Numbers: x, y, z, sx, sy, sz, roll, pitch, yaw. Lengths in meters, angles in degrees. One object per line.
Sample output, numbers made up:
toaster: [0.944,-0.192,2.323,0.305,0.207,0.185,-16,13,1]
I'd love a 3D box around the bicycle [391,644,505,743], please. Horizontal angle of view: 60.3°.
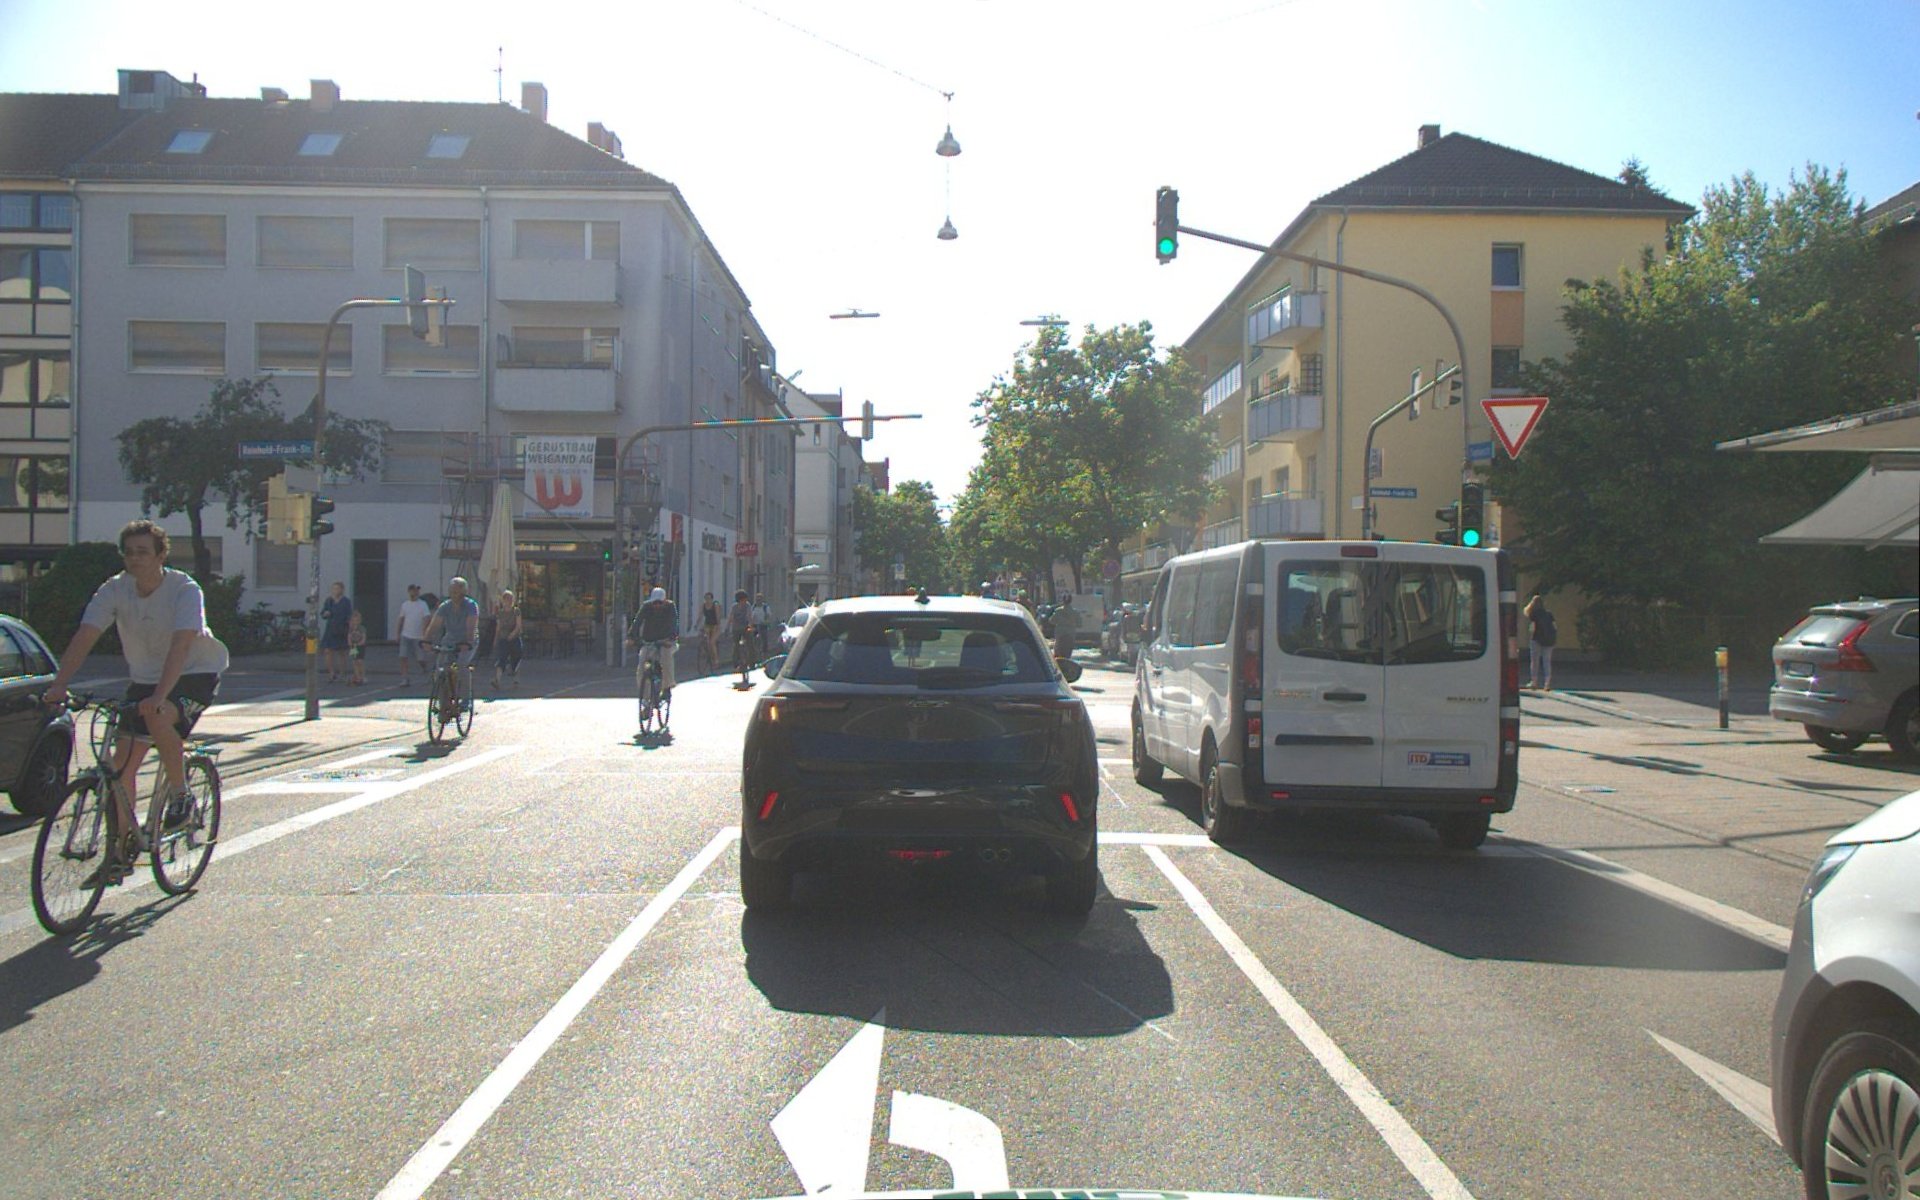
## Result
bicycle: [-5.655,1.010,18.371,0.666,0.969,1.933,-1,0,-1]

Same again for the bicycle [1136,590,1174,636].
bicycle: [3.831,0.249,32.631,0.535,0.881,1.876,0,0,0]

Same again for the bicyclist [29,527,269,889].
bicyclist: [-3.906,0.496,8.037,0.702,1.648,0.946,0,-1,-1]

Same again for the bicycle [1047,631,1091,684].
bicycle: [1.946,1.011,29.751,0.677,0.881,1.876,0,0,0]

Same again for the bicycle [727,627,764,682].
bicycle: [-3.795,0.956,29.375,0.532,0.918,1.825,0,0,-4]

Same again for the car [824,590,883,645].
car: [-3.207,0.528,50.457,1.559,1.593,4.088,0,-1,0]

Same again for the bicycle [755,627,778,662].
bicycle: [-5.031,1.152,42.938,0.543,0.848,2.128,1,0,-7]

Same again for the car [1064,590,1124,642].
car: [5.064,0.594,62.920,2.004,1.879,4.585,0,0,1]

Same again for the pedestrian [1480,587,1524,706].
pedestrian: [8.558,0.730,26.142,0.591,1.854,0.629,0,0,12]

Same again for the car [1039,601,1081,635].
car: [4.576,0.820,76.051,1.678,1.509,3.380,0,0,0]

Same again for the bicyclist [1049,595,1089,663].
bicyclist: [1.964,0.517,29.771,0.678,1.214,0.595,0,0,0]

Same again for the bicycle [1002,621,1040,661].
bicycle: [1.594,1.068,43.482,0.839,0.961,2.307,3,0,-1]

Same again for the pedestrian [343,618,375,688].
pedestrian: [-10.116,0.888,27.852,0.378,1.166,0.531,0,0,-5]

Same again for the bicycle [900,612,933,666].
bicycle: [-1.075,0.940,40.779,0.785,1.277,2.138,0,0,-1]

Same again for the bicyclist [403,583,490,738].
bicyclist: [-5.672,0.655,18.302,0.666,1.659,0.899,-1,0,-1]

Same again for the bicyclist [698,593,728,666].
bicyclist: [-5.280,0.629,35.423,0.531,1.547,0.774,0,0,-1]

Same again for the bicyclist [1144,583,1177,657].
bicyclist: [3.895,0.382,32.131,0.535,1.406,0.823,0,0,0]

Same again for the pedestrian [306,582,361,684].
pedestrian: [-10.657,0.551,28.164,0.561,1.712,0.968,0,0,-1]

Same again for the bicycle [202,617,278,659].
bicycle: [-16.741,0.889,38.466,1.556,0.956,0.512,0,0,1]

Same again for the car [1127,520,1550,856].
car: [2.549,0.548,12.531,1.928,1.974,5.054,2,0,-1]

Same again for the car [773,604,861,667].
car: [-3.451,0.839,40.662,1.799,1.459,4.176,0,0,0]

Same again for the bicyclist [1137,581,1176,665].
bicyclist: [3.370,0.390,28.421,0.576,1.406,0.823,0,0,0]

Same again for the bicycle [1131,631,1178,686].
bicycle: [3.367,0.997,28.709,0.607,0.881,1.876,0,0,0]

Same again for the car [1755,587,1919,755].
car: [10.826,0.724,17.567,3.905,1.691,1.825,0,0,-1]

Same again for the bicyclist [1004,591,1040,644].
bicyclist: [1.626,0.444,43.499,0.839,1.337,1.210,2,0,-1]

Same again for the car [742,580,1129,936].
car: [-0.140,0.723,9.419,1.726,1.586,3.999,0,0,-1]

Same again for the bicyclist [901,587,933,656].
bicyclist: [-1.071,0.522,41.069,0.785,1.678,1.125,0,0,-1]

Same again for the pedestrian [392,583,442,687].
pedestrian: [-9.031,0.576,27.526,0.561,1.718,0.670,0,0,5]

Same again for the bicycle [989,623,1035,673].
bicycle: [1.085,0.994,35.077,0.839,0.961,2.307,3,0,-1]

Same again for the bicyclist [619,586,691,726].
bicyclist: [-3.596,0.648,19.534,0.666,1.604,0.899,-1,0,-1]

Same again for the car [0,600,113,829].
car: [-7.109,0.738,10.376,1.657,1.473,3.855,3,0,-2]

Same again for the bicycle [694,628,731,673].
bicycle: [-5.276,1.067,35.349,0.531,0.918,1.826,0,0,-1]

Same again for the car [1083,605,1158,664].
car: [4.346,0.916,45.107,1.678,1.509,3.479,0,0,0]

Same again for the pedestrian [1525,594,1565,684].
pedestrian: [10.530,0.699,29.796,0.528,1.598,0.539,0,0,-1]

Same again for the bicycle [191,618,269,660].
bicycle: [-16.698,0.884,37.848,1.556,0.956,0.512,0,0,1]

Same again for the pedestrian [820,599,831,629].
pedestrian: [-7.375,0.756,90.756,0.566,1.610,0.707,0,0,-6]

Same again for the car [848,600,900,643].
car: [-3.076,0.751,59.224,1.769,1.437,4.423,-1,0,-3]

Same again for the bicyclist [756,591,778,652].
bicyclist: [-5.008,0.553,42.928,0.543,1.576,0.813,1,0,-8]

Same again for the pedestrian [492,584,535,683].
pedestrian: [-7.360,0.550,27.270,0.520,1.609,0.563,0,0,5]

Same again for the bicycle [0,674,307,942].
bicycle: [-3.904,0.939,8.085,0.702,1.082,1.872,0,0,-1]

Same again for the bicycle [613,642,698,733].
bicycle: [-3.590,1.012,19.630,0.666,0.969,1.933,-1,0,-1]

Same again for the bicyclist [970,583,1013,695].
bicyclist: [0.479,0.587,25.689,0.619,1.698,1.050,0,0,-1]

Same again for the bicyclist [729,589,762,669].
bicyclist: [-3.807,0.509,29.364,0.532,1.415,0.788,0,0,-4]

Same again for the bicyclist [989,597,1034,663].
bicyclist: [1.091,0.635,35.138,0.839,1.337,1.210,2,0,-1]

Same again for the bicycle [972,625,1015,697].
bicycle: [0.515,0.938,26.054,0.619,1.059,1.795,0,0,-1]

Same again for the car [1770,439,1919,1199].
car: [2.996,0.586,1.608,1.928,1.842,4.830,0,0,-2]
